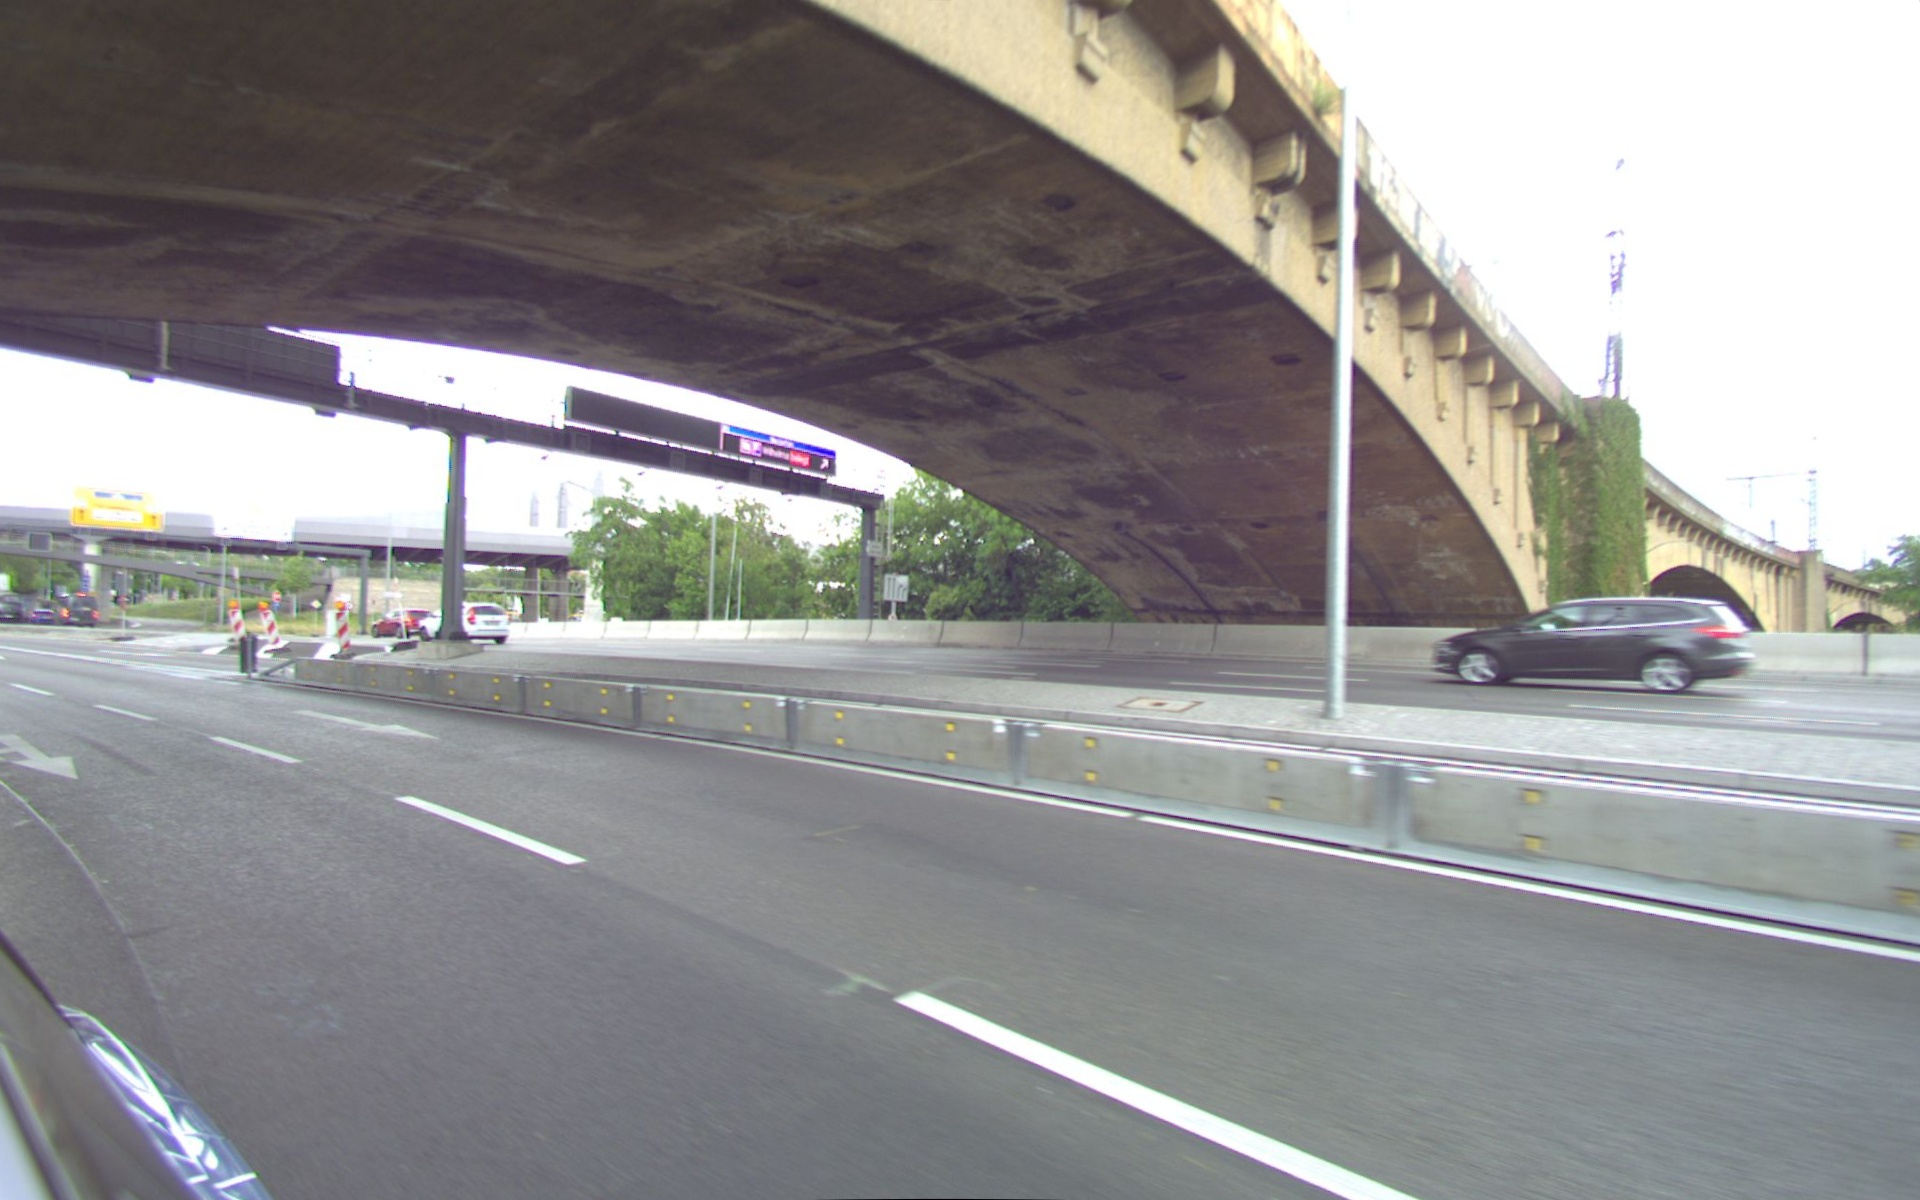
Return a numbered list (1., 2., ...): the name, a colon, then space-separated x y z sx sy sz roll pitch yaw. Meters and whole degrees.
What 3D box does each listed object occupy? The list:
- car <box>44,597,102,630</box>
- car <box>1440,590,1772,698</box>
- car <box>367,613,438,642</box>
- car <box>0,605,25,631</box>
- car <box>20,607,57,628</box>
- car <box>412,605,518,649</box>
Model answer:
1. car: -68.593 1.042 78.230 6.187 2.509 2.267 -1 -1 38
2. car: 10.475 0.664 16.641 4.393 1.548 1.800 -1 -1 37
3. car: -30.755 1.482 55.772 4.393 1.548 1.800 -1 -1 37
4. car: -77.030 1.454 81.370 4.713 1.990 1.994 -1 -2 38
5. car: -84.977 1.608 93.316 3.995 1.829 1.974 -1 -1 39
6. car: -18.437 0.965 37.641 4.395 1.548 1.820 -1 -1 38
